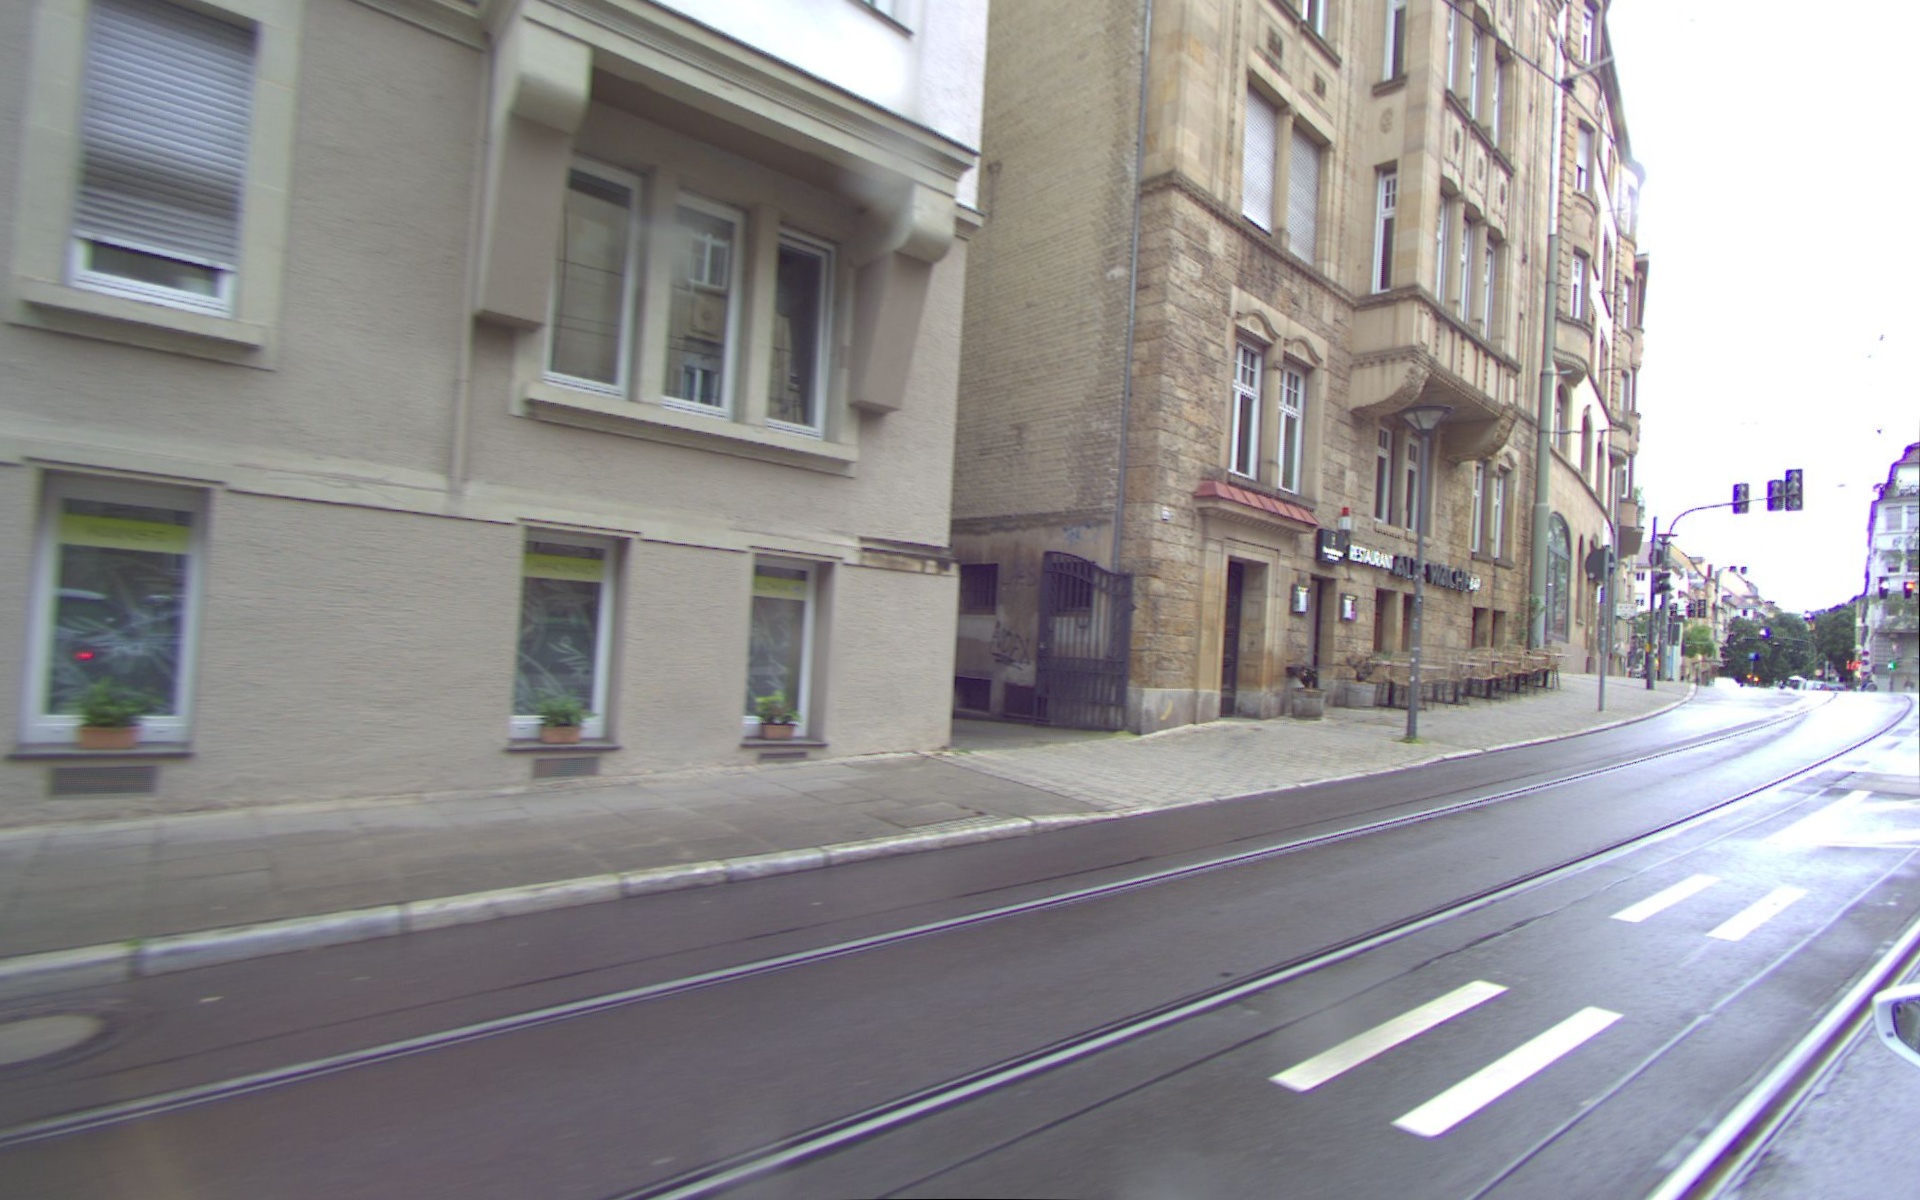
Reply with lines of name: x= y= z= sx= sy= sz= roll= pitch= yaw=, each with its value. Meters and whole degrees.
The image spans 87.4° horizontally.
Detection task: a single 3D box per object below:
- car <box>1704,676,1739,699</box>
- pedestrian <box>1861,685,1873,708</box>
car: x=59.538 y=6.817 z=78.538 sx=1.769 sy=1.530 sz=4.654 roll=-1 pitch=-2 yaw=32
pedestrian: x=69.236 y=7.331 z=76.647 sx=0.641 sy=1.683 sz=0.646 roll=1 pitch=0 yaw=42
